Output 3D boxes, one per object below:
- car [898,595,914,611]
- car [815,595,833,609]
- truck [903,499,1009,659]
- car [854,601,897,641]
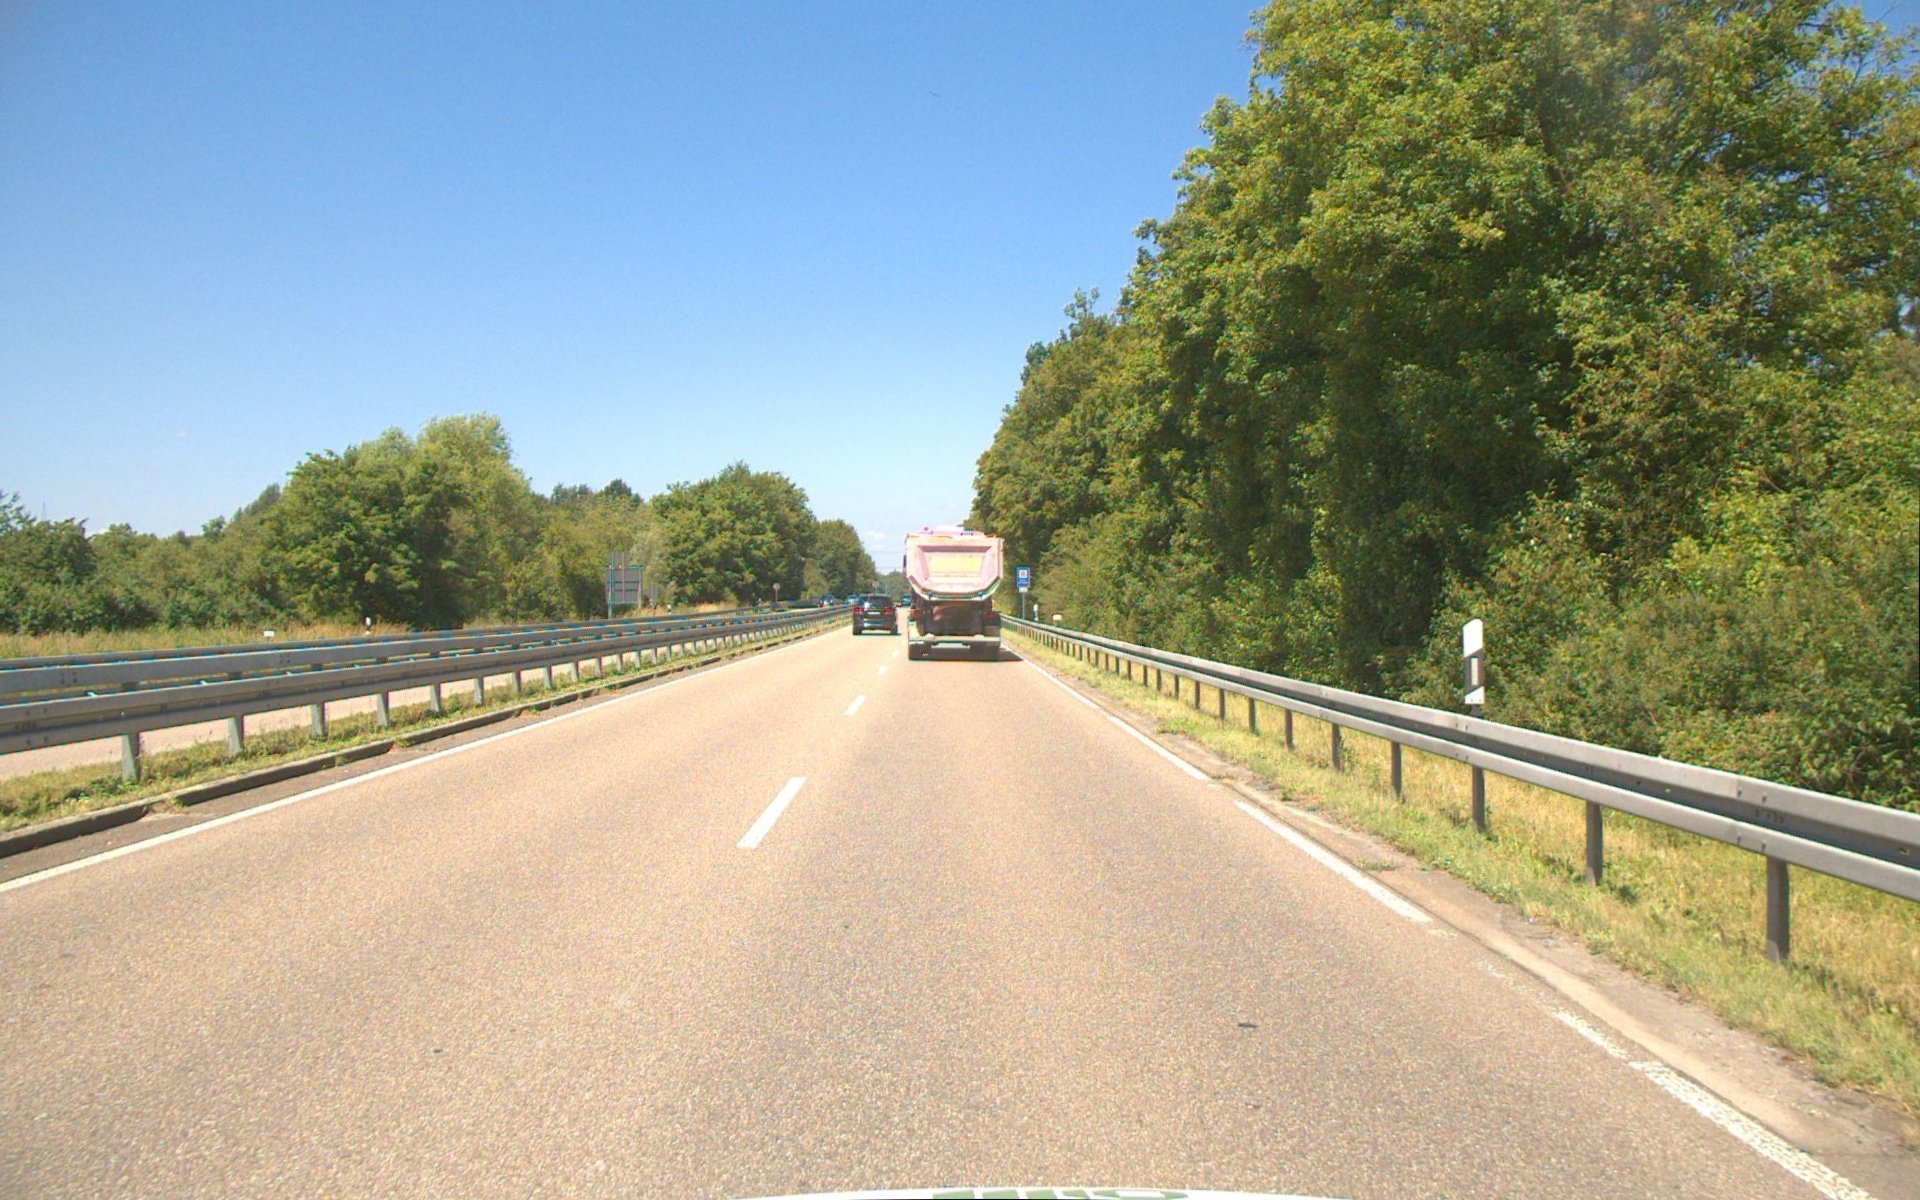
[{"bbox_3d":[-6.028,0.323,185.044,1.820,1.748,3.998,0,-1,-2],"label":"car"},{"bbox_3d":[-16.745,0.206,203.448,1.743,1.648,4.506,-2,0,1],"label":"car"},{"bbox_3d":[-0.266,-0.574,47.734,2.665,3.999,12.366,0,0,-2],"label":"truck"},{"bbox_3d":[-3.672,0.930,72.316,1.820,1.701,3.998,0,-1,-2],"label":"car"}]
